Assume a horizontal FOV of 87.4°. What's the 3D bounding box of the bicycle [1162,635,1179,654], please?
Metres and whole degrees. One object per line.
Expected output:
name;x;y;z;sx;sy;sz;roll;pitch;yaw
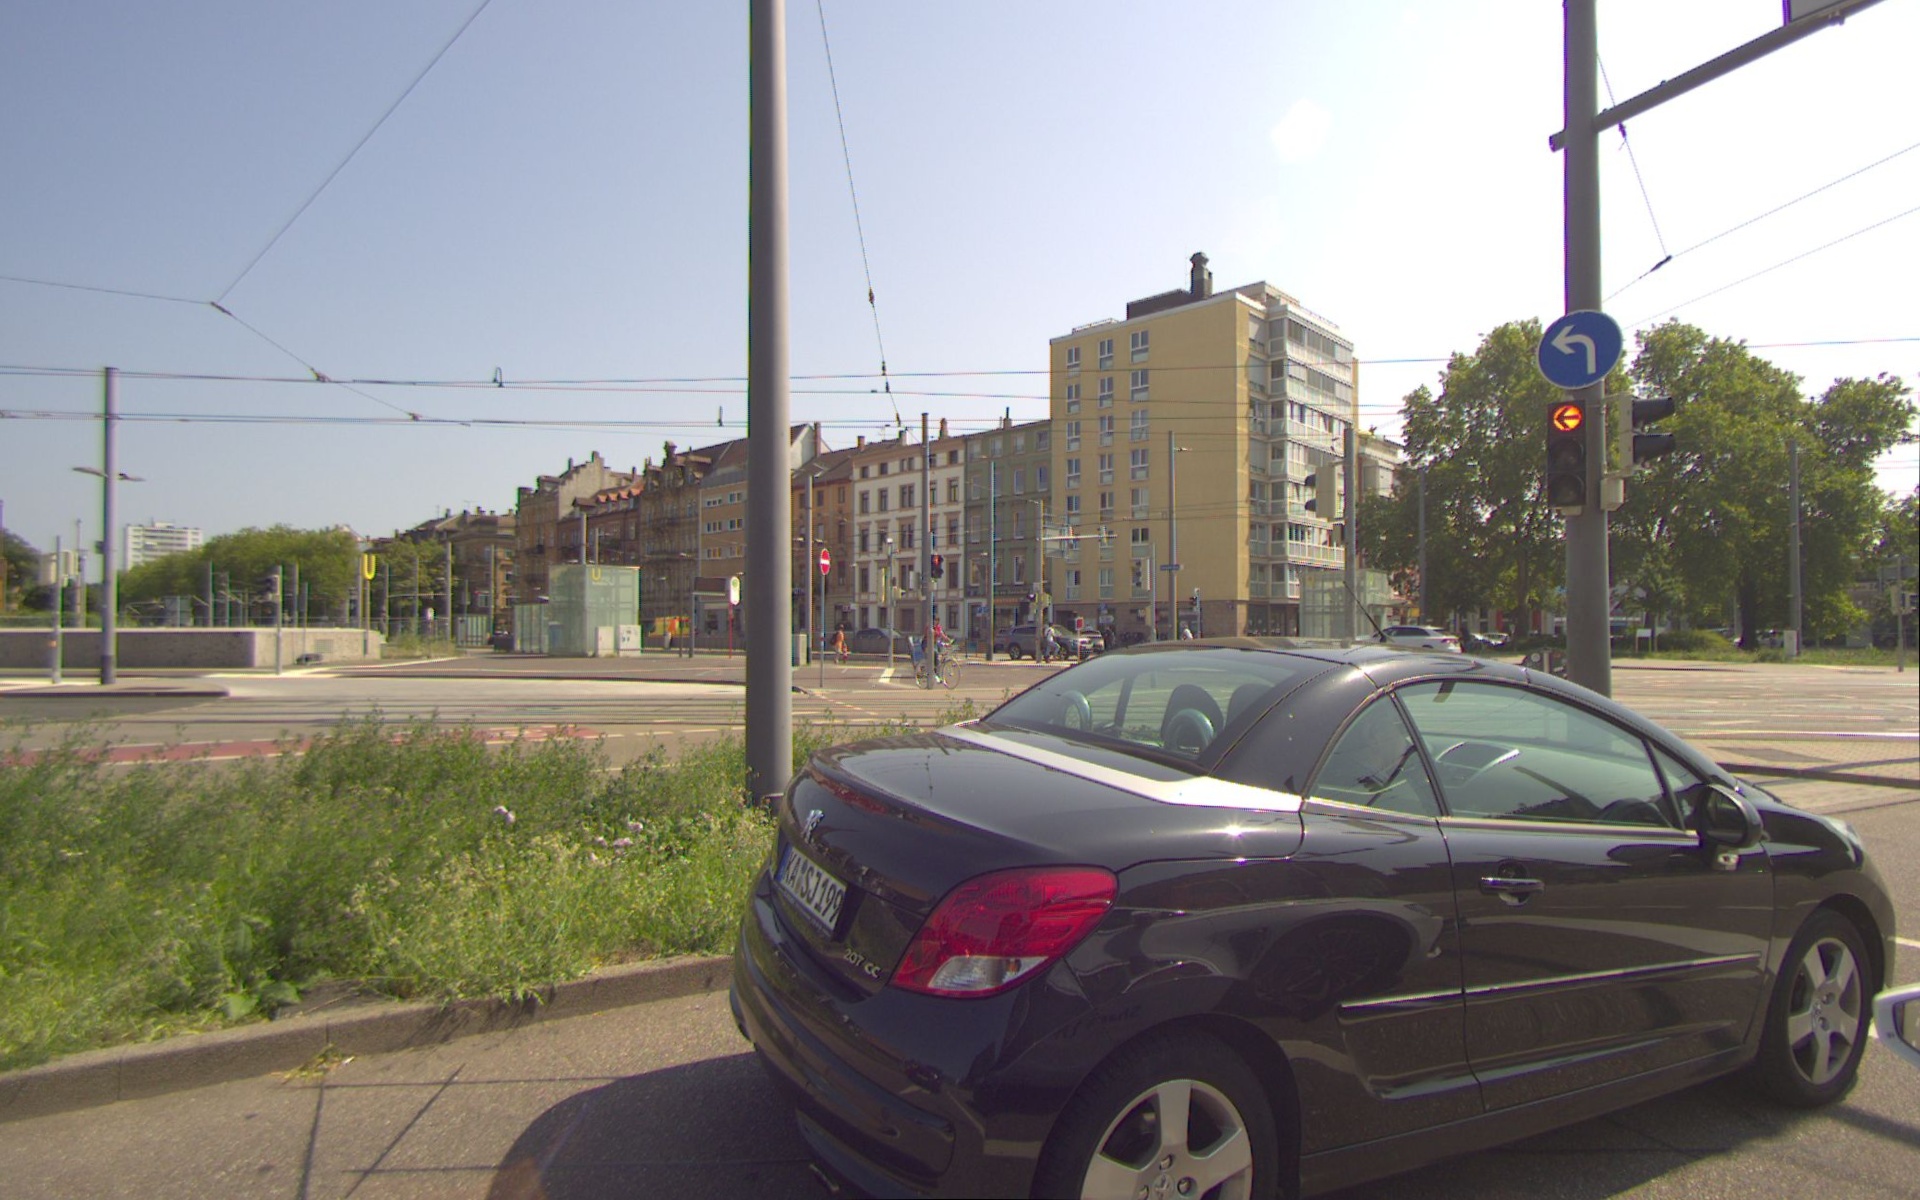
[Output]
bicycle;13.885;2.907;66.250;0.680;1.220;3.265;0;-2;5

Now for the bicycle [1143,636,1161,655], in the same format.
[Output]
bicycle;12.888;3.051;67.555;0.892;1.220;3.265;0;-2;5

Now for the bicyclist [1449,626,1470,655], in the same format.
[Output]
bicyclist;25.948;2.094;52.216;0.861;1.495;0.543;-1;-2;43

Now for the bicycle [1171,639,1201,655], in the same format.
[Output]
bicycle;14.022;2.907;62.365;1.794;0.954;0.565;-1;-2;42

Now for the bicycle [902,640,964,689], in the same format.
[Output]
bicycle;-0.668;1.535;24.158;0.499;1.108;1.918;1;-2;-35

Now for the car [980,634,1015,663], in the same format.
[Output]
car;2.510;3.147;66.437;1.767;1.843;4.003;0;-2;11

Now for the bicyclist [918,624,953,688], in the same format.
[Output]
bicyclist;-0.595;1.341;24.183;0.632;1.529;0.553;1;-2;-36

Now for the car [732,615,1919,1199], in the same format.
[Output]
car;1.323;0.790;3.270;3.731;1.406;1.760;1;0;-26

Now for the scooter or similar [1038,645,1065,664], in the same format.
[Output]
scooter or similar;4.002;2.377;44.025;1.132;0.835;0.517;1;-2;-35

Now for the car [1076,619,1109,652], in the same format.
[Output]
car;8.137;2.188;61.520;1.767;1.951;4.003;0;-2;11

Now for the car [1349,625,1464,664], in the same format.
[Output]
car;19.484;1.908;43.922;4.276;1.639;1.744;-1;-2;44

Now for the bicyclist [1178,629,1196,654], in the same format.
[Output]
bicyclist;14.082;2.567;62.323;0.900;1.528;0.556;-1;-2;43

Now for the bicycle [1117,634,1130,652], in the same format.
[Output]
bicycle;11.268;2.924;69.231;0.680;1.220;2.793;0;-2;5

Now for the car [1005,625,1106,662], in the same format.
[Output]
car;4.403;1.998;46.655;4.473;1.621;1.764;-1;-2;38

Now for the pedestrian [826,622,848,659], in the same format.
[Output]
pedestrian;-5.154;1.699;42.118;0.842;1.563;0.743;0;-2;-4

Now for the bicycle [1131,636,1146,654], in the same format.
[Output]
bicycle;12.074;3.043;68.113;0.680;1.220;3.265;0;-2;5

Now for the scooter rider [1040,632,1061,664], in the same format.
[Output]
scooter rider;3.978;2.101;44.121;0.602;1.371;0.682;1;-2;-35
